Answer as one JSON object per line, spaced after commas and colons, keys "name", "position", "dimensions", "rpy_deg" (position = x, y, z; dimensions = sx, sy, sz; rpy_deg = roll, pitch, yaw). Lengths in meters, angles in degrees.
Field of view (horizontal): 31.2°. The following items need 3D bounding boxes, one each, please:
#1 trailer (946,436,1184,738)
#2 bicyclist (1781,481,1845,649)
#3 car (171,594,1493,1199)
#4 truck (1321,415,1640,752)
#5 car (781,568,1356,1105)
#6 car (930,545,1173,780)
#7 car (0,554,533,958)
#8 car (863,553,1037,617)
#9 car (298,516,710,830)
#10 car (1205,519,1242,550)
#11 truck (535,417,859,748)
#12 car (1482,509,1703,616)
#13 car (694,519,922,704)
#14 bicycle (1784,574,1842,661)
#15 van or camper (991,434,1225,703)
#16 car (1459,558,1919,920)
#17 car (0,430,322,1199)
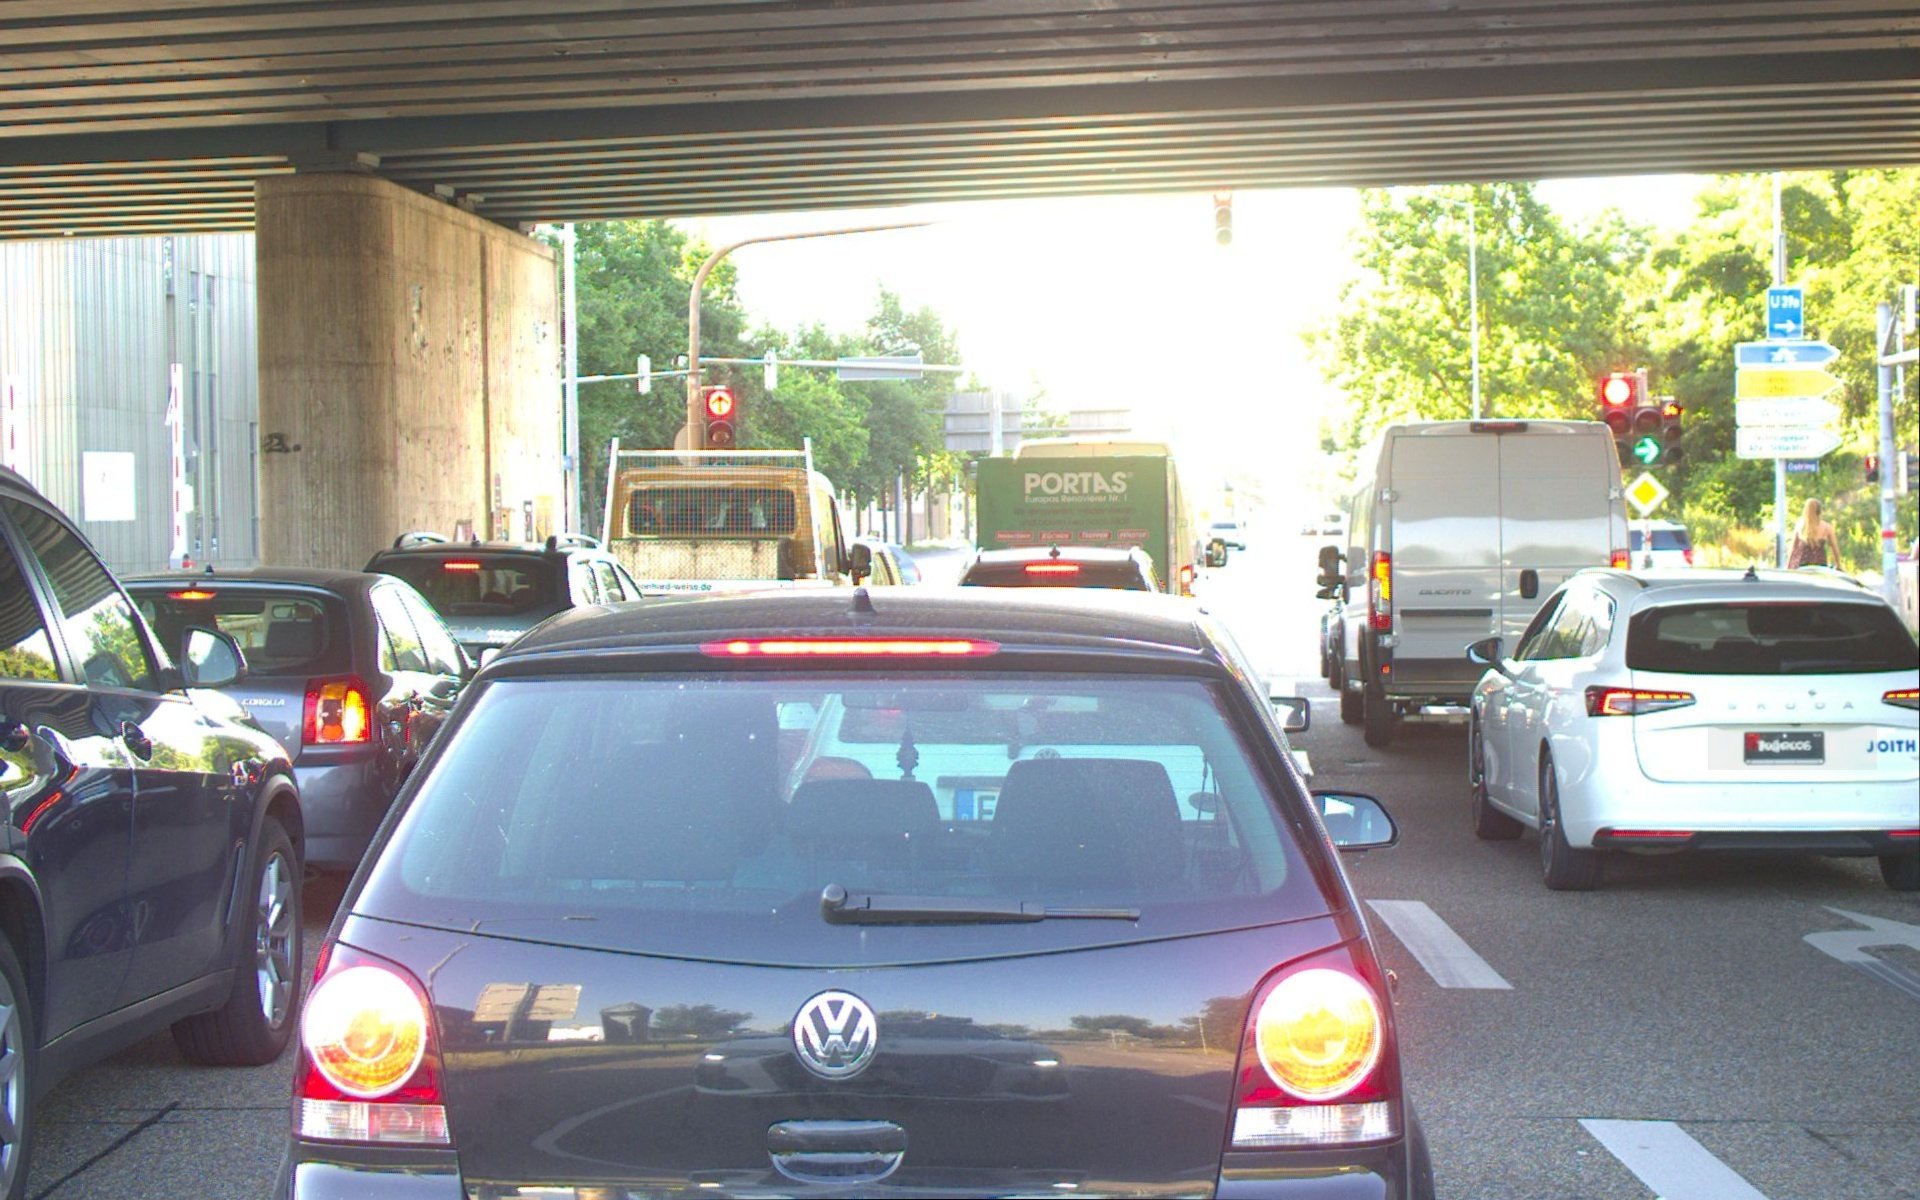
{"name": "trailer", "position": [0.991, -0.104, 30.461], "dimensions": [1.864, 2.456, 3.831], "rpy_deg": [-2, 0, 4]}
{"name": "bicyclist", "position": [9.785, -0.400, 39.463], "dimensions": [0.682, 1.900, 0.833], "rpy_deg": [0, 0, 13]}
{"name": "car", "position": [-0.196, 0.705, 6.031], "dimensions": [1.581, 1.404, 3.832], "rpy_deg": [0, 0, -1]}
{"name": "truck", "position": [4.214, -0.129, 28.522], "dimensions": [2.111, 2.511, 4.400], "rpy_deg": [-2, 0, 3]}
{"name": "car", "position": [0.344, 0.636, 11.201], "dimensions": [1.547, 1.418, 3.417], "rpy_deg": [2, 1, 2]}
{"name": "car", "position": [0.683, 0.417, 24.330], "dimensions": [1.582, 1.527, 3.831], "rpy_deg": [0, 0, 3]}
{"name": "car", "position": [-3.030, 0.600, 14.897], "dimensions": [1.841, 1.435, 3.675], "rpy_deg": [-4, 0, 0]}
{"name": "car", "position": [-0.186, -0.259, 59.861], "dimensions": [2.822, 1.077, 1.218], "rpy_deg": [0, 0, -12]}
{"name": "car", "position": [-2.799, 0.418, 21.967], "dimensions": [1.841, 1.713, 4.000], "rpy_deg": [-4, 0, 2]}
{"name": "car", "position": [12.183, -3.026, 158.983], "dimensions": [1.339, 1.277, 2.893], "rpy_deg": [-4, 0, -1]}
{"name": "truck", "position": [-2.123, -0.132, 29.406], "dimensions": [2.028, 2.548, 5.536], "rpy_deg": [0, 0, 3]}
{"name": "car", "position": [11.467, -0.676, 62.531], "dimensions": [3.795, 1.678, 1.664], "rpy_deg": [-4, 0, 9]}
{"name": "car", "position": [-1.592, 0.122, 37.521], "dimensions": [1.994, 1.894, 3.999], "rpy_deg": [-1, 0, 5]}
{"name": "bicycle", "position": [9.783, 0.195, 39.487], "dimensions": [0.579, 0.960, 2.884], "rpy_deg": [-1, 0, 13]}
{"name": "van or camper", "position": [1.644, -0.299, 35.918], "dimensions": [1.994, 2.562, 5.916], "rpy_deg": [0, 0, 7]}
{"name": "car", "position": [3.504, 0.590, 16.474], "dimensions": [1.772, 1.490, 3.831], "rpy_deg": [-2, 0, 2]}
{"name": "car", "position": [-2.898, 0.524, 8.345], "dimensions": [1.829, 1.732, 4.461], "rpy_deg": [-1, 0, 0]}
